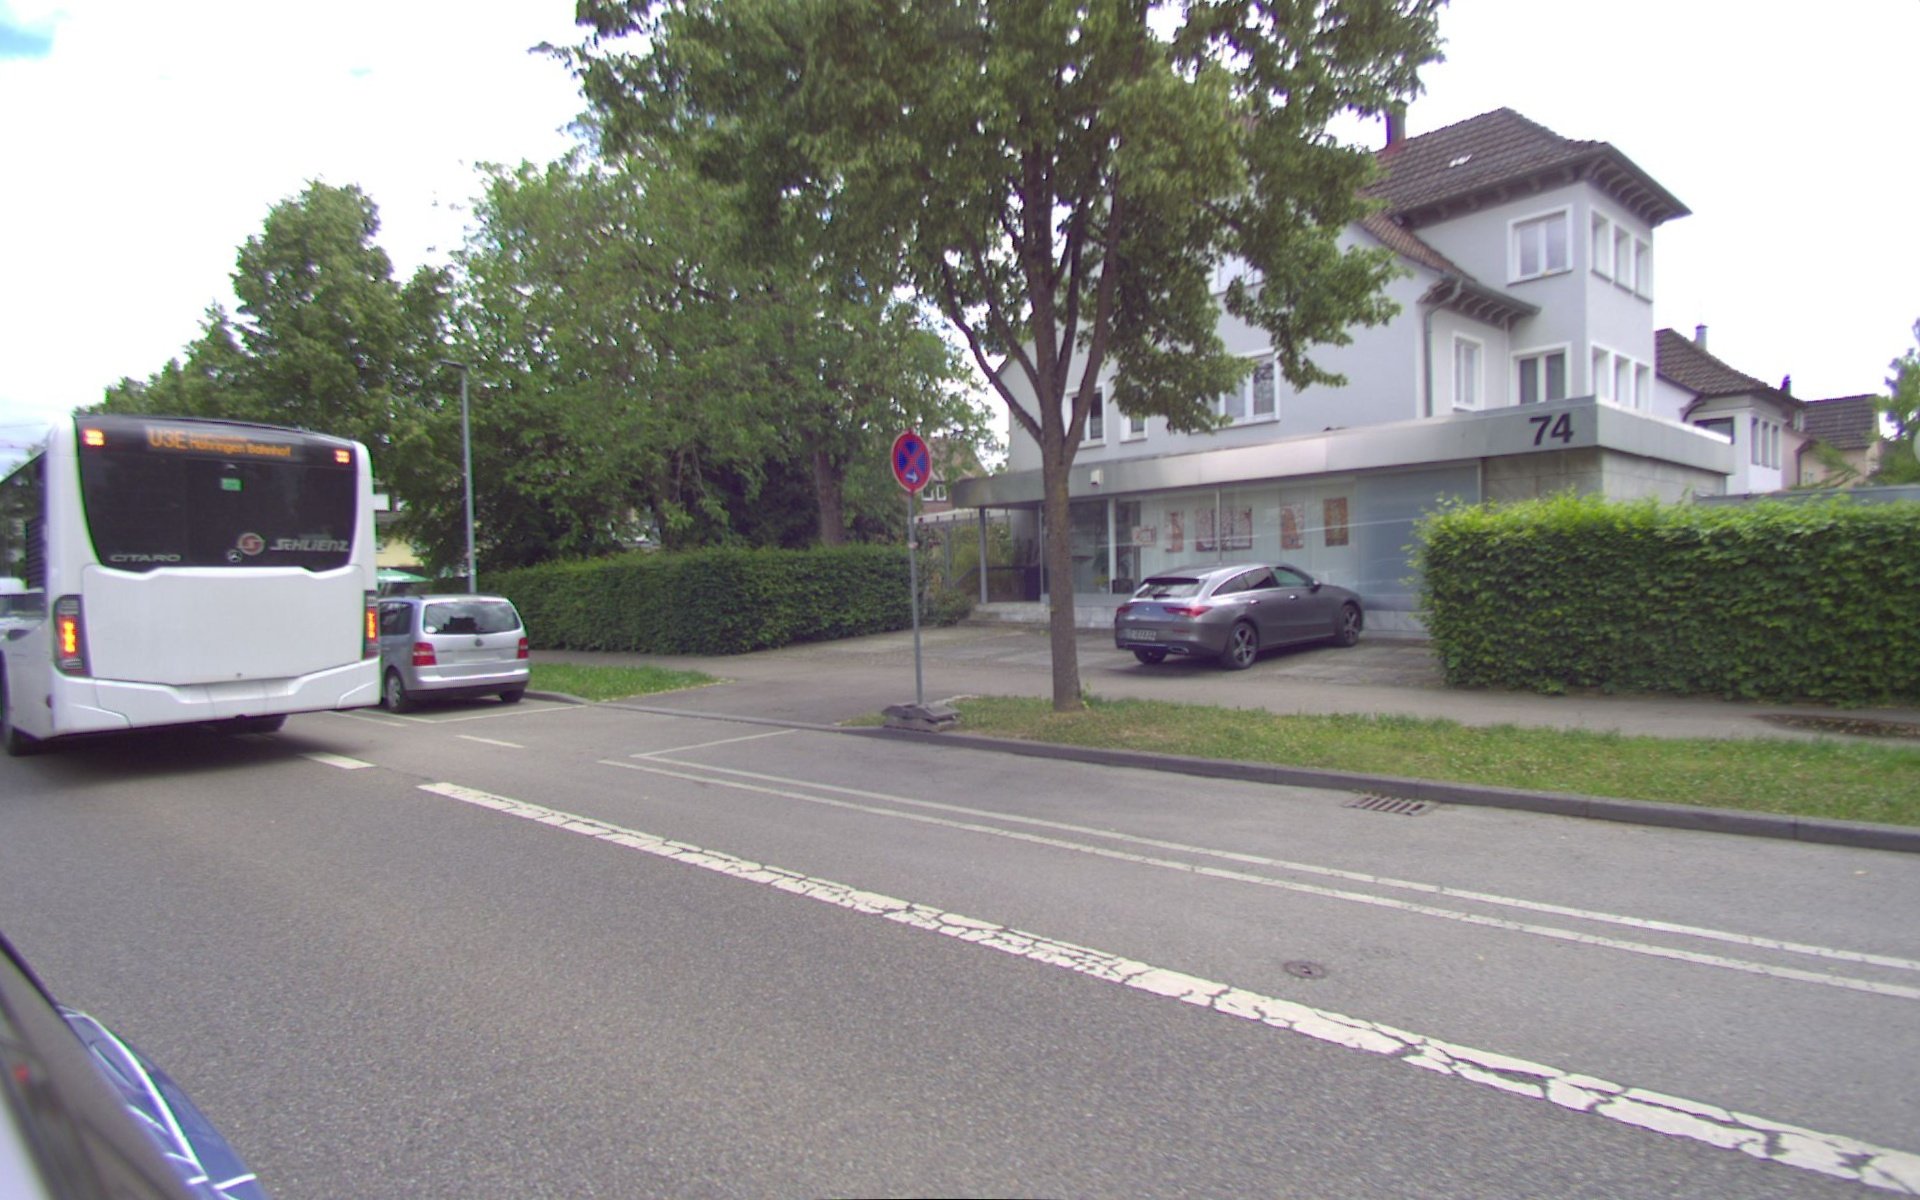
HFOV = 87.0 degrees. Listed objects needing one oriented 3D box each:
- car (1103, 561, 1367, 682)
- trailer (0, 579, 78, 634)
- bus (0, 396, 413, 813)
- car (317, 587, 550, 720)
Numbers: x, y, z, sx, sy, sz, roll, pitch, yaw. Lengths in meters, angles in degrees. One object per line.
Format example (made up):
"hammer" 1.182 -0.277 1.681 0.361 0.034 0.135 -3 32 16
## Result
"car" 4.152 0.240 14.945 4.030 1.443 1.803 -4 2 -41
"trailer" -52.103 0.378 57.320 2.600 2.900 6.886 -1 0 -36
"bus" -13.226 0.049 15.011 18.035 3.313 2.776 0 1 41
"car" -7.969 0.692 15.146 4.224 1.696 1.671 0 2 42
